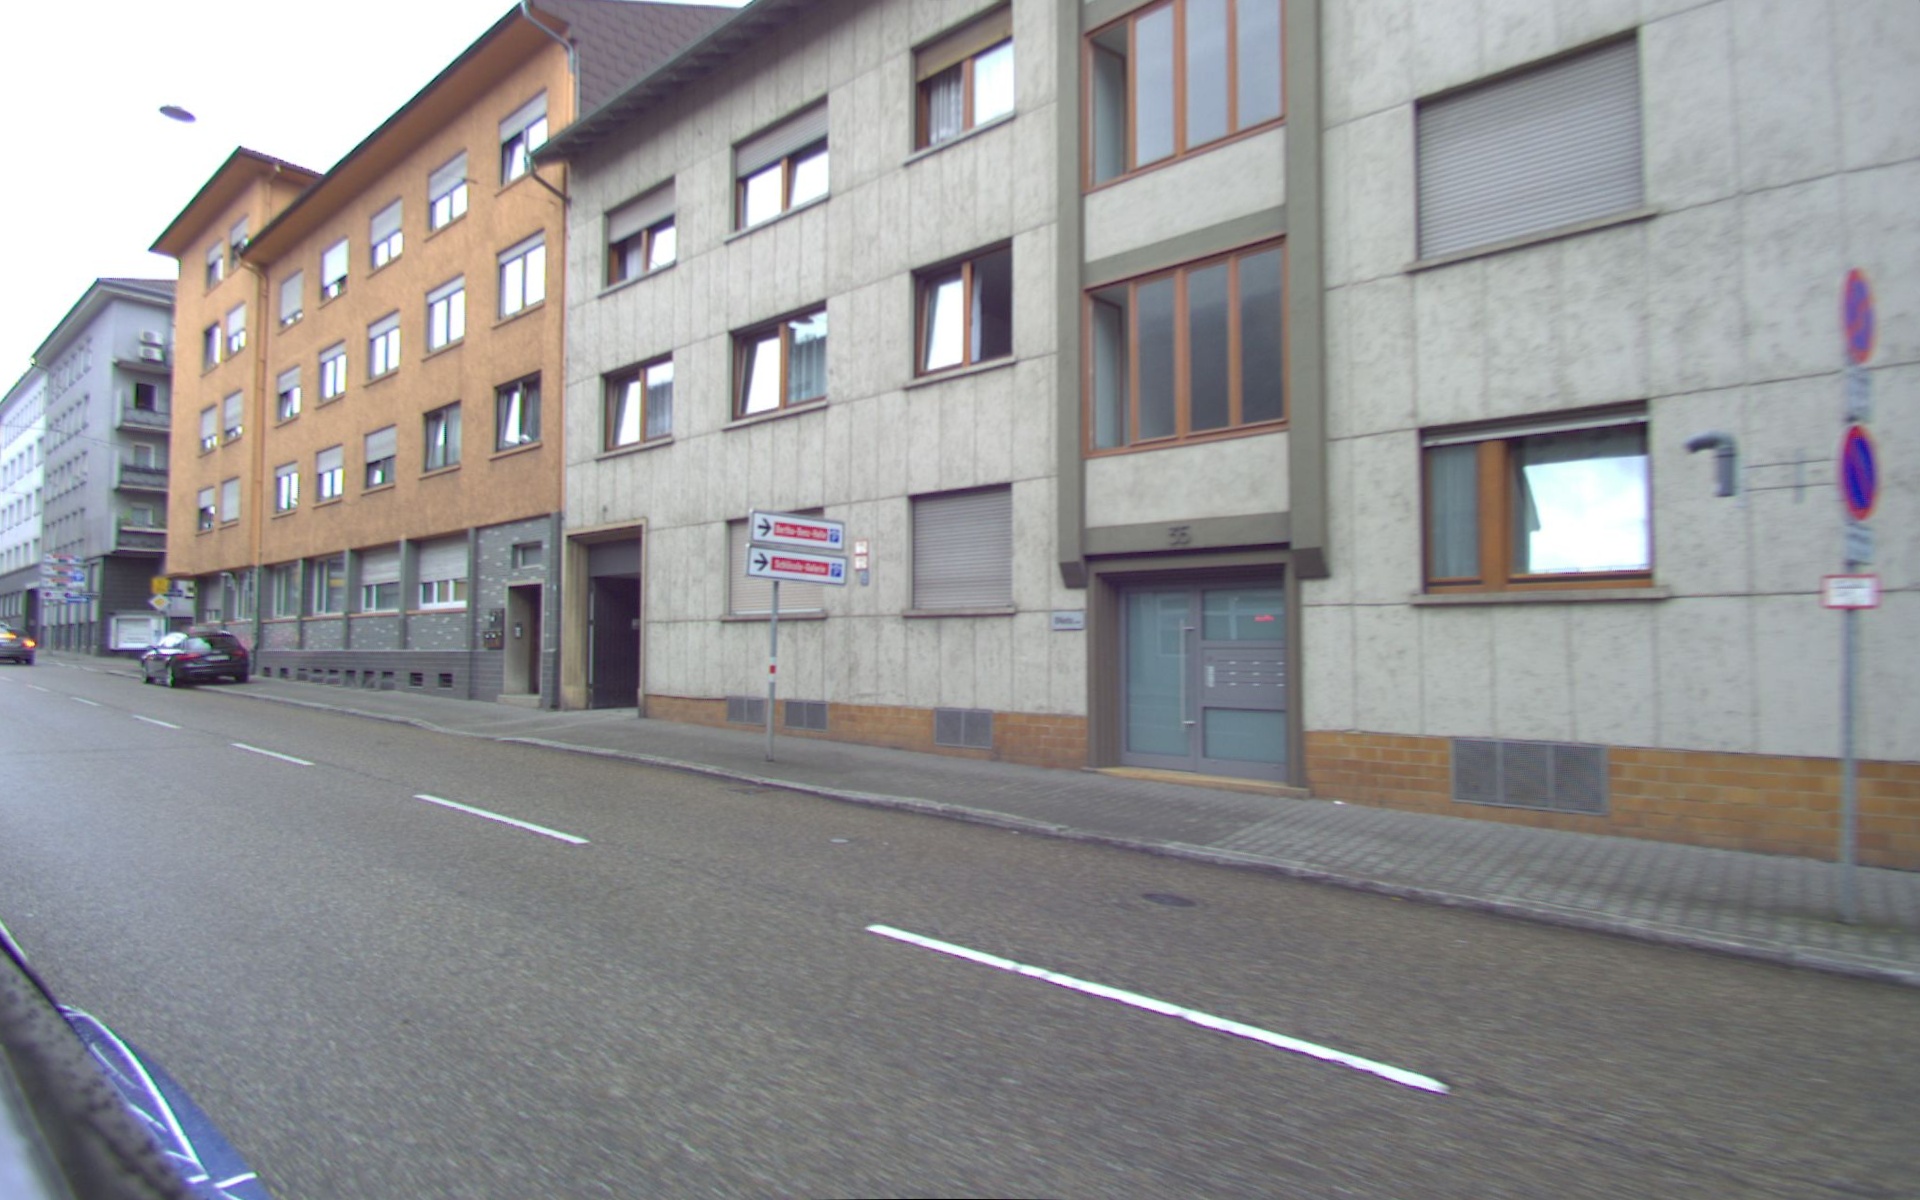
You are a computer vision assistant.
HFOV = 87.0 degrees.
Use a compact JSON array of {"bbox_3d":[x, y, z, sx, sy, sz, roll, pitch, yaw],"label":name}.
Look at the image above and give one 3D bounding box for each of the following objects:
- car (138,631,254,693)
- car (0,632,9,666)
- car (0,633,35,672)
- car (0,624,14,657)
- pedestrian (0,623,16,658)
[{"bbox_3d":[-21.402,1.658,28.307,4.216,1.485,1.776,0,0,41],"label":"car"},{"bbox_3d":[-43.267,2.100,44.358,4.370,1.484,1.705,-1,-5,40],"label":"car"},{"bbox_3d":[-37.731,1.995,39.522,4.362,1.381,1.678,0,-5,40],"label":"car"},{"bbox_3d":[-53.593,2.215,55.691,4.216,1.735,1.832,0,0,41],"label":"car"},{"bbox_3d":[-57.078,2.397,60.160,1.257,2.029,1.292,-1,0,41],"label":"pedestrian"}]
